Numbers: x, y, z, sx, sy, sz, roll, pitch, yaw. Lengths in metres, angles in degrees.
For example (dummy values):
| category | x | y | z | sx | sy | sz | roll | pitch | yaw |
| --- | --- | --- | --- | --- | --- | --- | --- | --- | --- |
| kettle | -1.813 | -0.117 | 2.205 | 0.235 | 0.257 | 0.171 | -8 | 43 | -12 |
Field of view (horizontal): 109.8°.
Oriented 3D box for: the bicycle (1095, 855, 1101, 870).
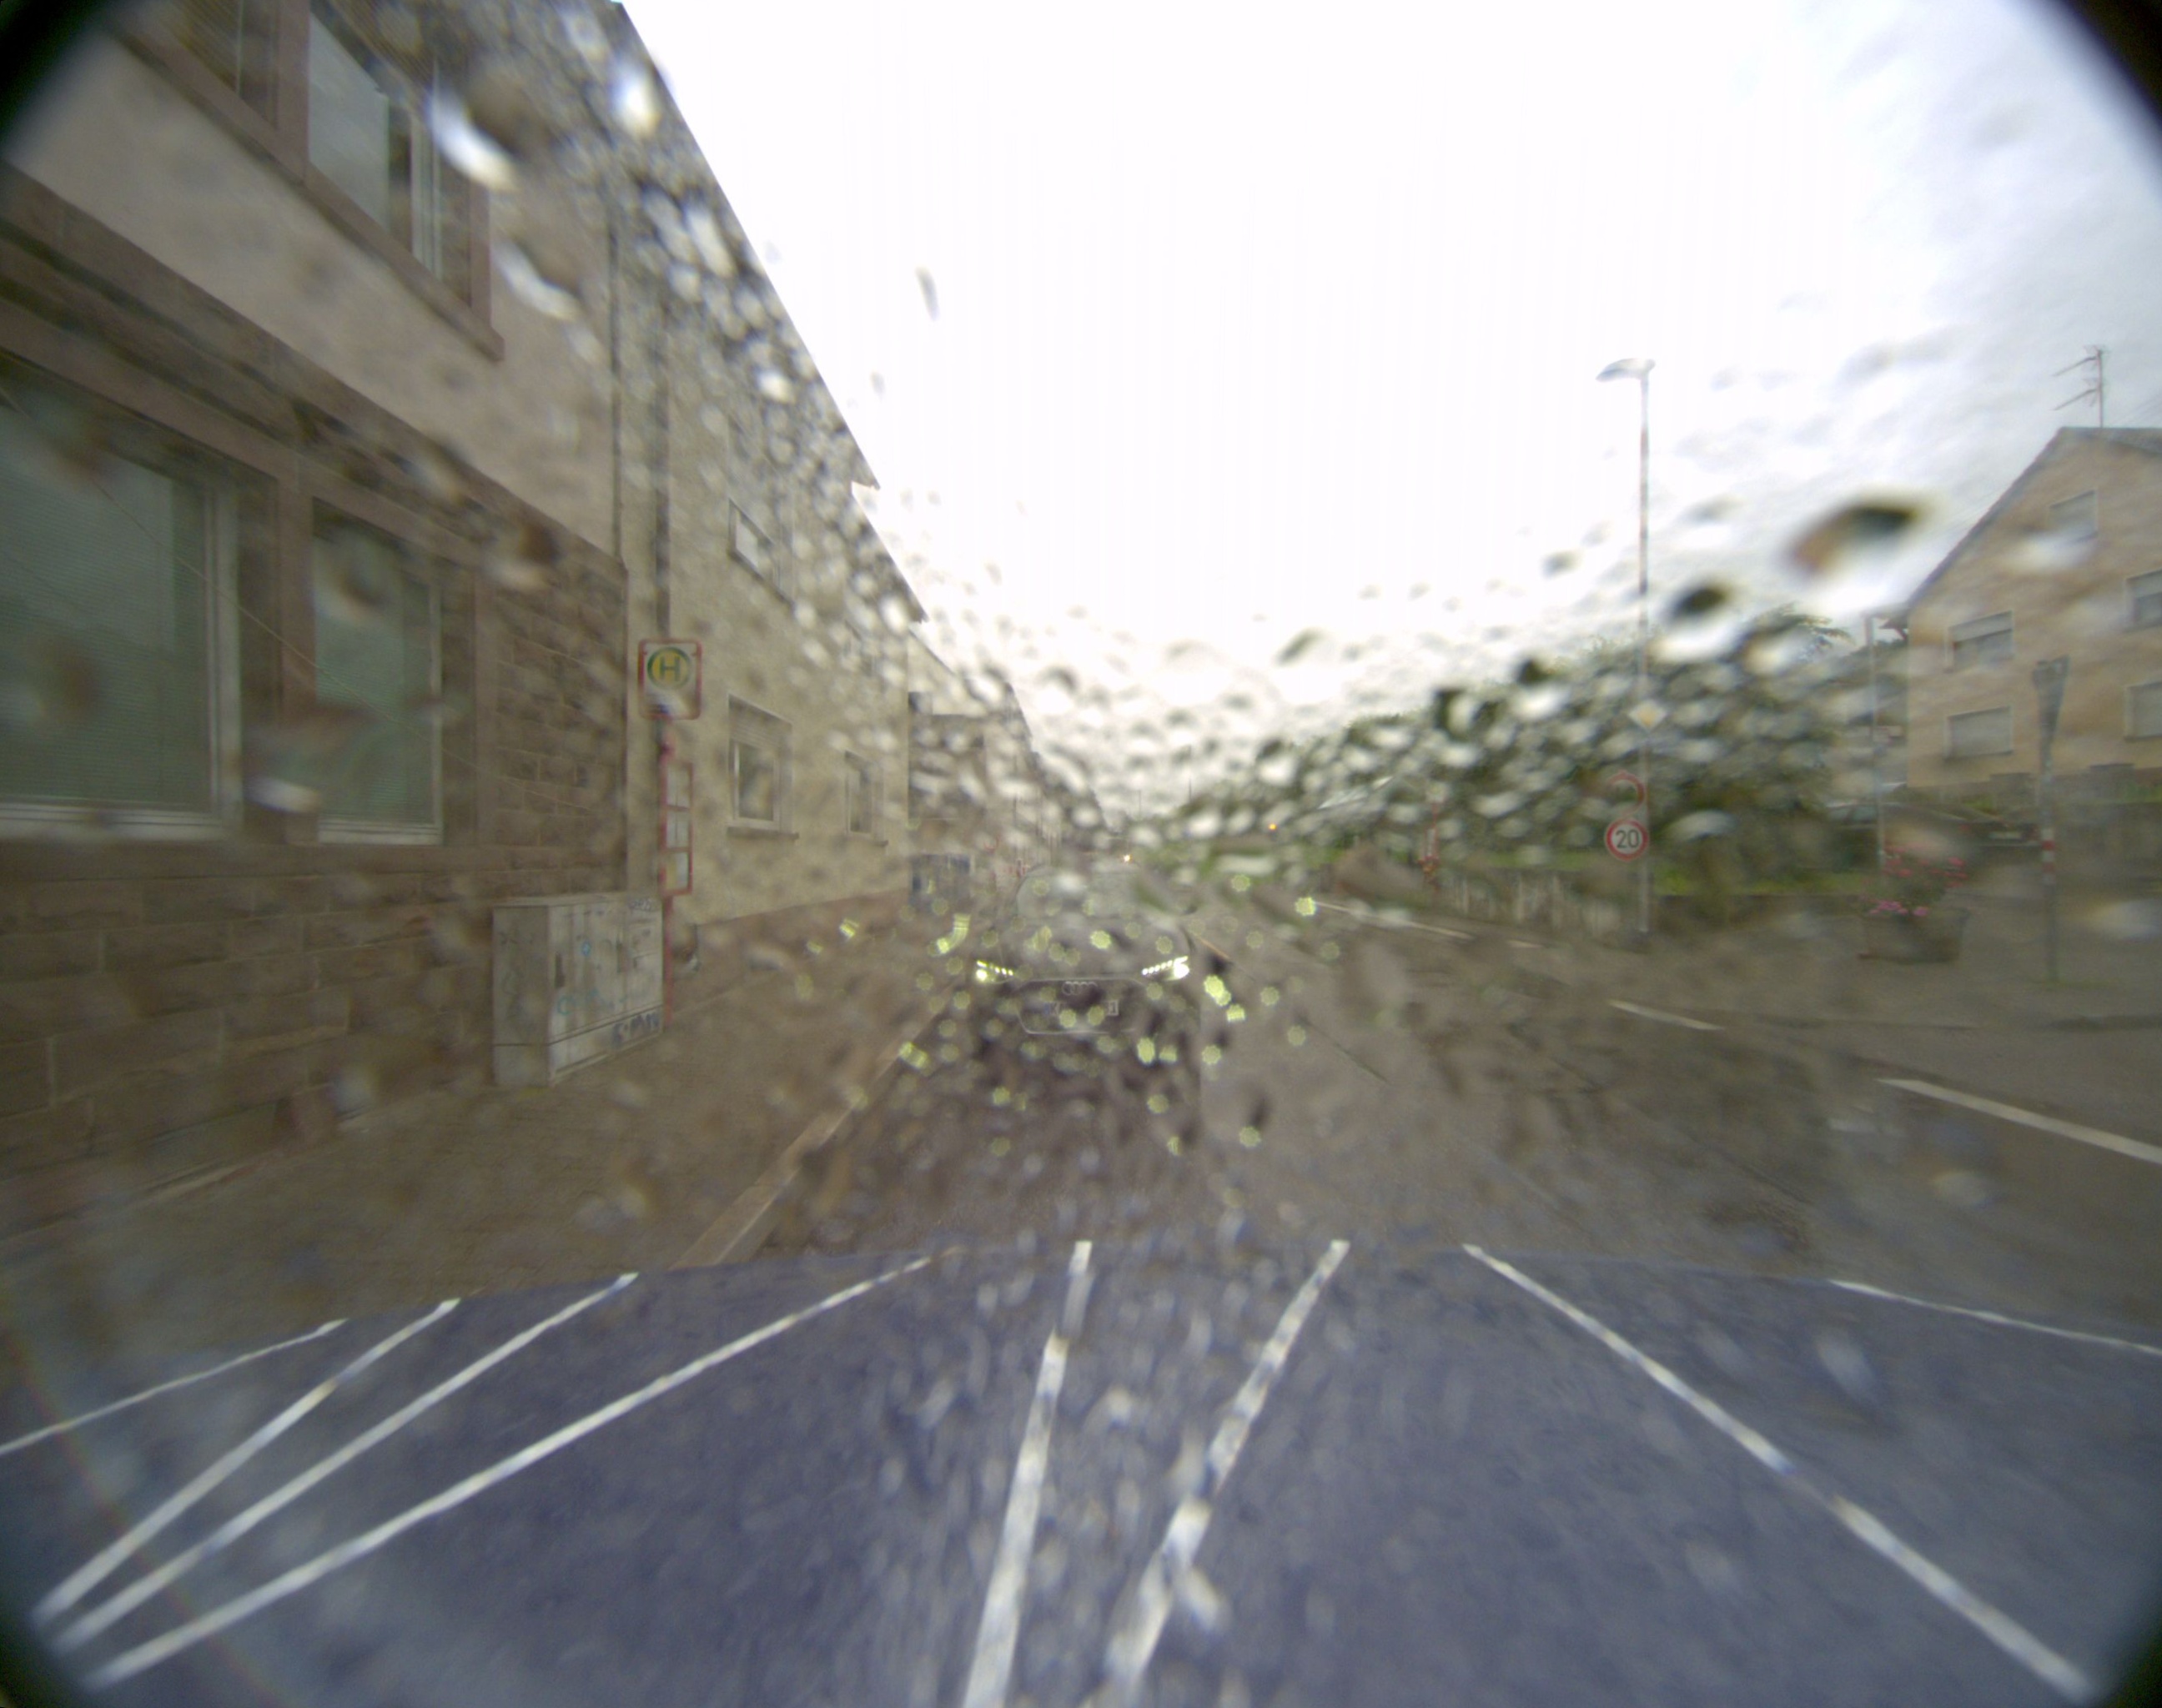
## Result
| category | x | y | z | sx | sy | sz | roll | pitch | yaw |
| --- | --- | --- | --- | --- | --- | --- | --- | --- | --- |
| bicycle | 1.196 | 0.623 | 53.934 | 0.407 | 1.023 | 1.221 | 1 | 1 | 2 |

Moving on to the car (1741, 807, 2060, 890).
| category | x | y | z | sx | sy | sz | roll | pitch | yaw |
| --- | --- | --- | --- | --- | --- | --- | --- | --- | --- |
| car | 15.826 | -0.203 | 15.094 | 1.749 | 1.382 | 4.220 | -1 | 3 | 0 |

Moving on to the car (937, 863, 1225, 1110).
| category | x | y | z | sx | sy | sz | roll | pitch | yaw |
| --- | --- | --- | --- | --- | --- | --- | --- | --- | --- |
| car | 0.028 | 0.891 | 7.218 | 1.851 | 1.444 | 4.531 | 1 | 1 | 1 |

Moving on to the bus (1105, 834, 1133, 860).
| category | x | y | z | sx | sy | sz | roll | pitch | yaw |
| --- | --- | --- | --- | --- | --- | --- | --- | --- | --- |
| bus | 4.495 | -0.935 | 93.263 | 2.685 | 2.988 | 14.542 | 1 | 1 | 0 |

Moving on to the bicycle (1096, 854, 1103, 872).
| category | x | y | z | sx | sy | sz | roll | pitch | yaw |
| --- | --- | --- | --- | --- | --- | --- | --- | --- | --- |
| bicycle | 1.250 | 0.611 | 51.697 | 0.407 | 1.137 | 1.221 | 1 | 1 | 2 |
